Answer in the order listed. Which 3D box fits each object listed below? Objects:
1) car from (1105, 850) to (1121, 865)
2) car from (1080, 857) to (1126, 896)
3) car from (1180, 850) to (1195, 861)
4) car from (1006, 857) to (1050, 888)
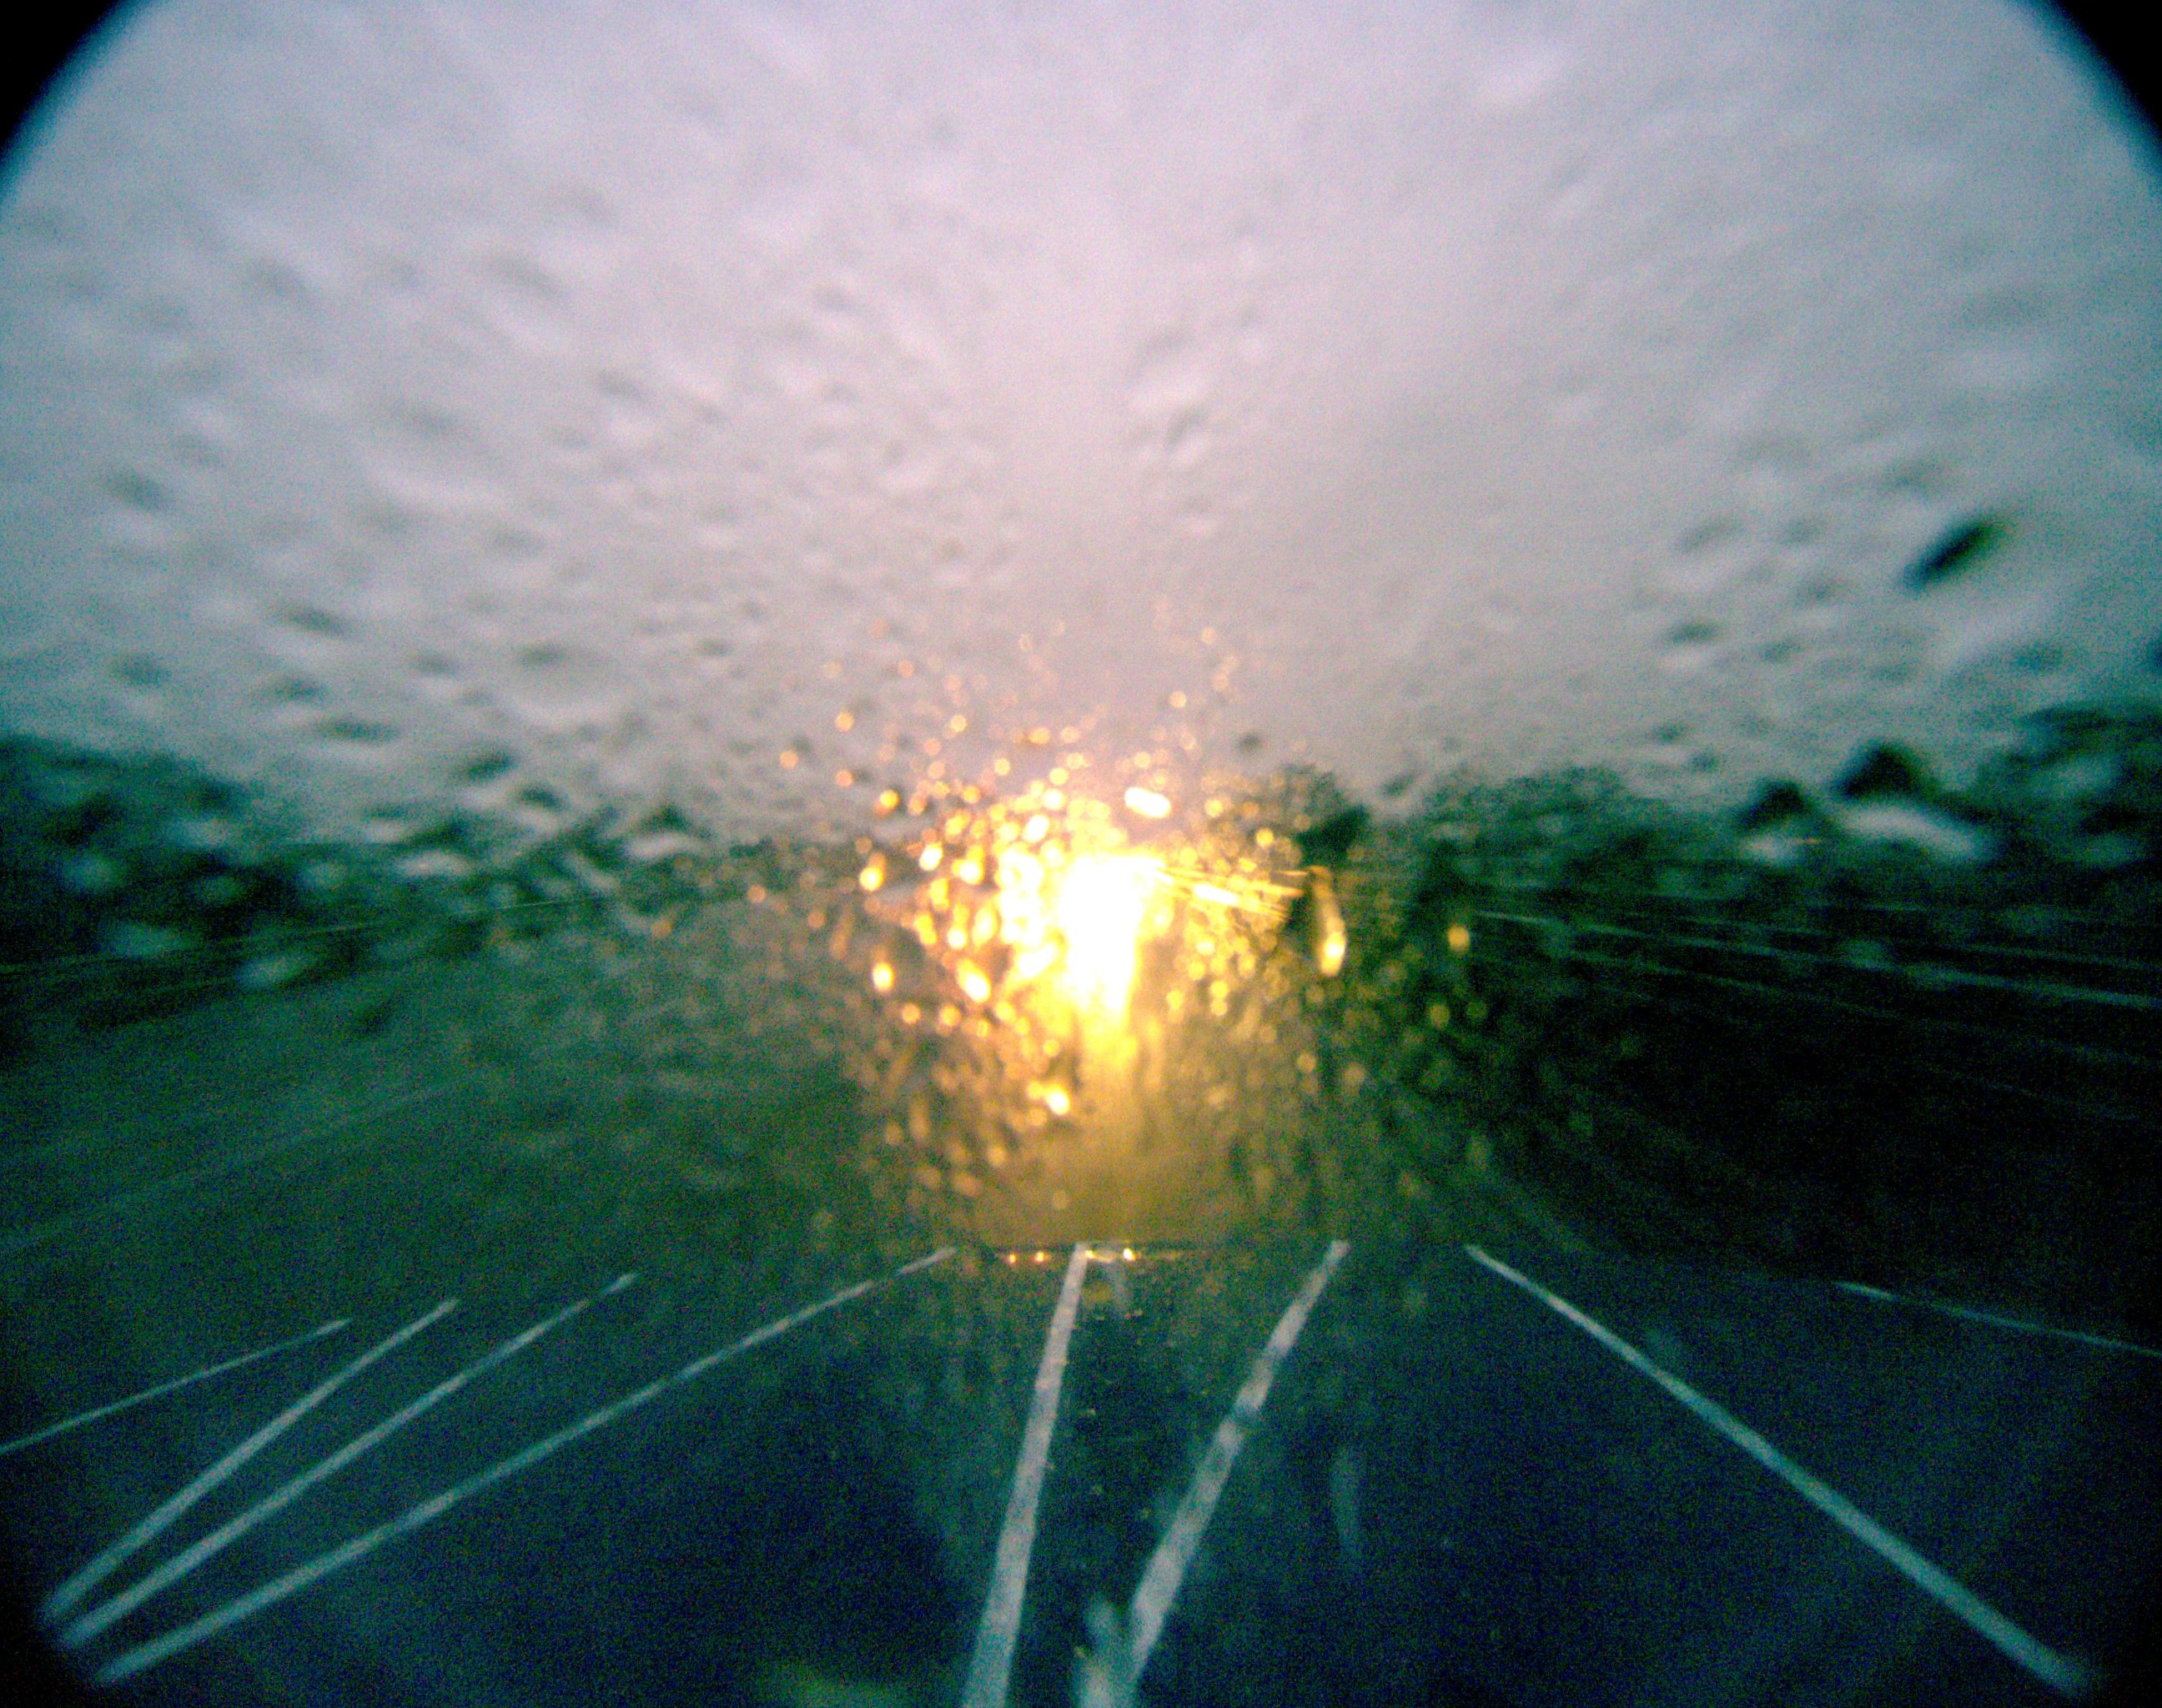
[{"bbox_3d":[4.316,0.494,103.922,1.998,2.002,4.000,-2,0,0],"label":"car"},{"bbox_3d":[0.947,0.945,33.109,1.850,1.521,4.149,-2,0,1],"label":"car"},{"bbox_3d":[17.287,0.258,123.403,1.899,1.773,4.705,-3,0,3],"label":"car"},{"bbox_3d":[-2.724,0.934,39.998,1.850,1.521,4.149,-2,0,2],"label":"car"}]
